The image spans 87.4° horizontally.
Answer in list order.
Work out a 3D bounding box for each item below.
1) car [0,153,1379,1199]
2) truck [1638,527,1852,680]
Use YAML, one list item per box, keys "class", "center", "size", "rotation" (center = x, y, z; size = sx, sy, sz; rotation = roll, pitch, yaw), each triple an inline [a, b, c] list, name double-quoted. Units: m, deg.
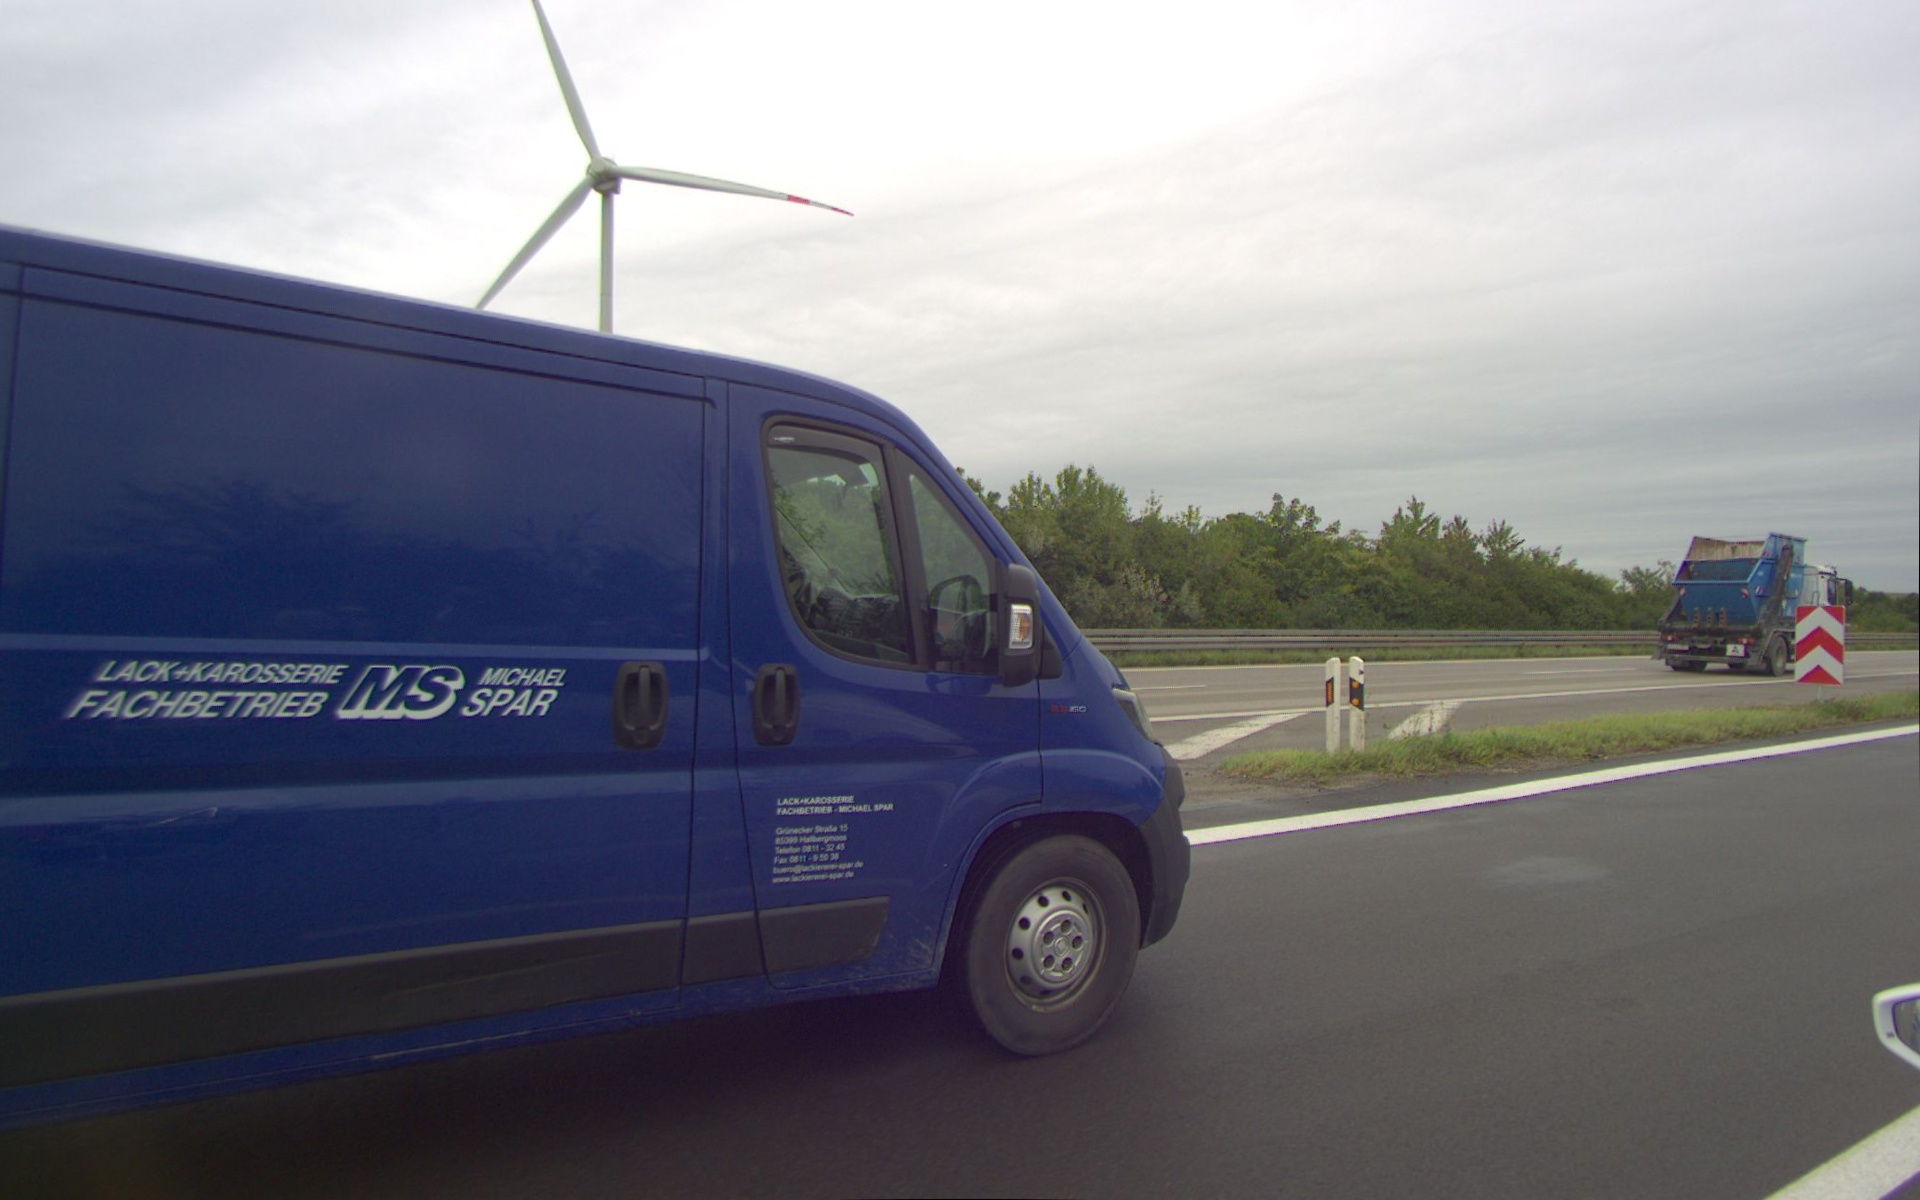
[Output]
- class: "car"
  center: [-1.618, 0.304, 3.408]
  size: [6.184, 2.297, 2.361]
  rotation: [1, 1, -31]
- class: "truck"
  center: [22.397, 0.176, 28.535]
  size: [7.267, 3.863, 2.622]
  rotation: [2, 0, -34]
